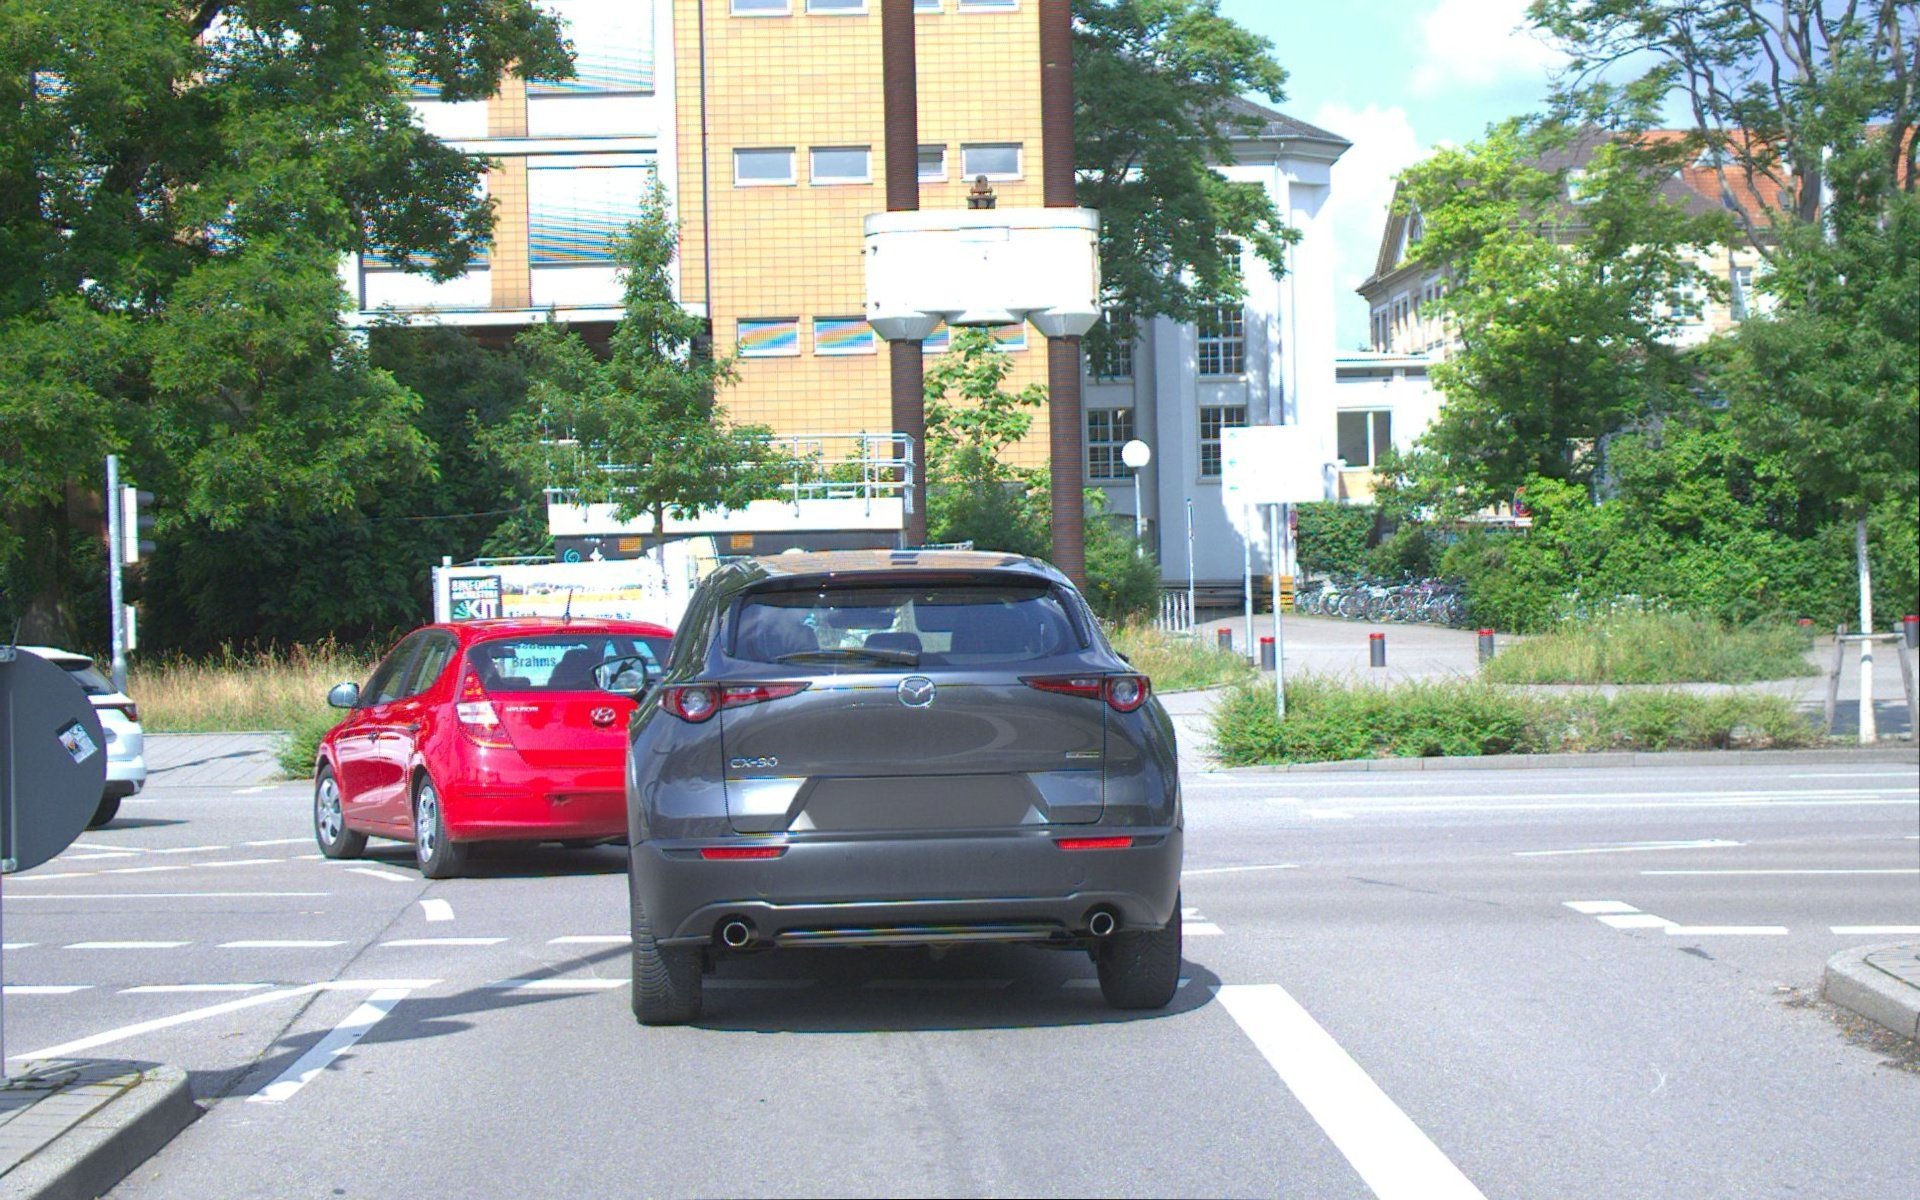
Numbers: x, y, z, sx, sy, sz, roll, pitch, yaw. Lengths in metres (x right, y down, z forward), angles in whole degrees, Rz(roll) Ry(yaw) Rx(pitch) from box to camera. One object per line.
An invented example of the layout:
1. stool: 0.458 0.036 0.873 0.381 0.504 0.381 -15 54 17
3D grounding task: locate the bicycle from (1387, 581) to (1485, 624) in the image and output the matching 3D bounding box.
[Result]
1. bicycle: 10.818 0.054 78.168 2.055 0.933 0.804 -2 0 -2

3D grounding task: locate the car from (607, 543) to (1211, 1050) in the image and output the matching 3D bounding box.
1. car: -0.314 0.567 12.425 1.806 1.503 4.205 0 1 -5

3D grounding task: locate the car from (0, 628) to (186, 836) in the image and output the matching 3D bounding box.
1. car: -8.261 1.013 27.240 4.330 1.467 1.850 -1 1 39

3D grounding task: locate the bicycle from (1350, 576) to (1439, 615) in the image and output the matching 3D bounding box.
1. bicycle: 10.816 -0.113 85.629 2.055 0.933 0.804 -2 0 -2

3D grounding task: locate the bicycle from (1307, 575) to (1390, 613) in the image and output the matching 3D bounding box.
1. bicycle: 10.211 -0.165 90.351 2.055 0.933 0.804 -2 0 -2

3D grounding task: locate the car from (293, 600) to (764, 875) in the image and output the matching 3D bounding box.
1. car: -2.683 0.772 20.527 1.816 1.434 4.068 -1 -1 -21

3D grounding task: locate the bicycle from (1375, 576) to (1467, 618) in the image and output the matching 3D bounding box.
1. bicycle: 11.012 -0.078 82.151 2.055 0.933 0.804 -2 0 -2

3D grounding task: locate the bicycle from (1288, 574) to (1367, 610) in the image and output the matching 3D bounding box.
1. bicycle: 10.178 -0.214 95.211 2.055 0.933 0.804 -2 0 -2

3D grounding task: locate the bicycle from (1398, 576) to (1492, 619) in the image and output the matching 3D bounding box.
1. bicycle: 11.387 -0.061 80.819 2.055 0.933 0.804 -2 0 -2

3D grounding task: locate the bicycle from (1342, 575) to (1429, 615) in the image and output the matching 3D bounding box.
1. bicycle: 10.715 -0.125 86.621 2.055 0.933 0.804 -2 0 -2
